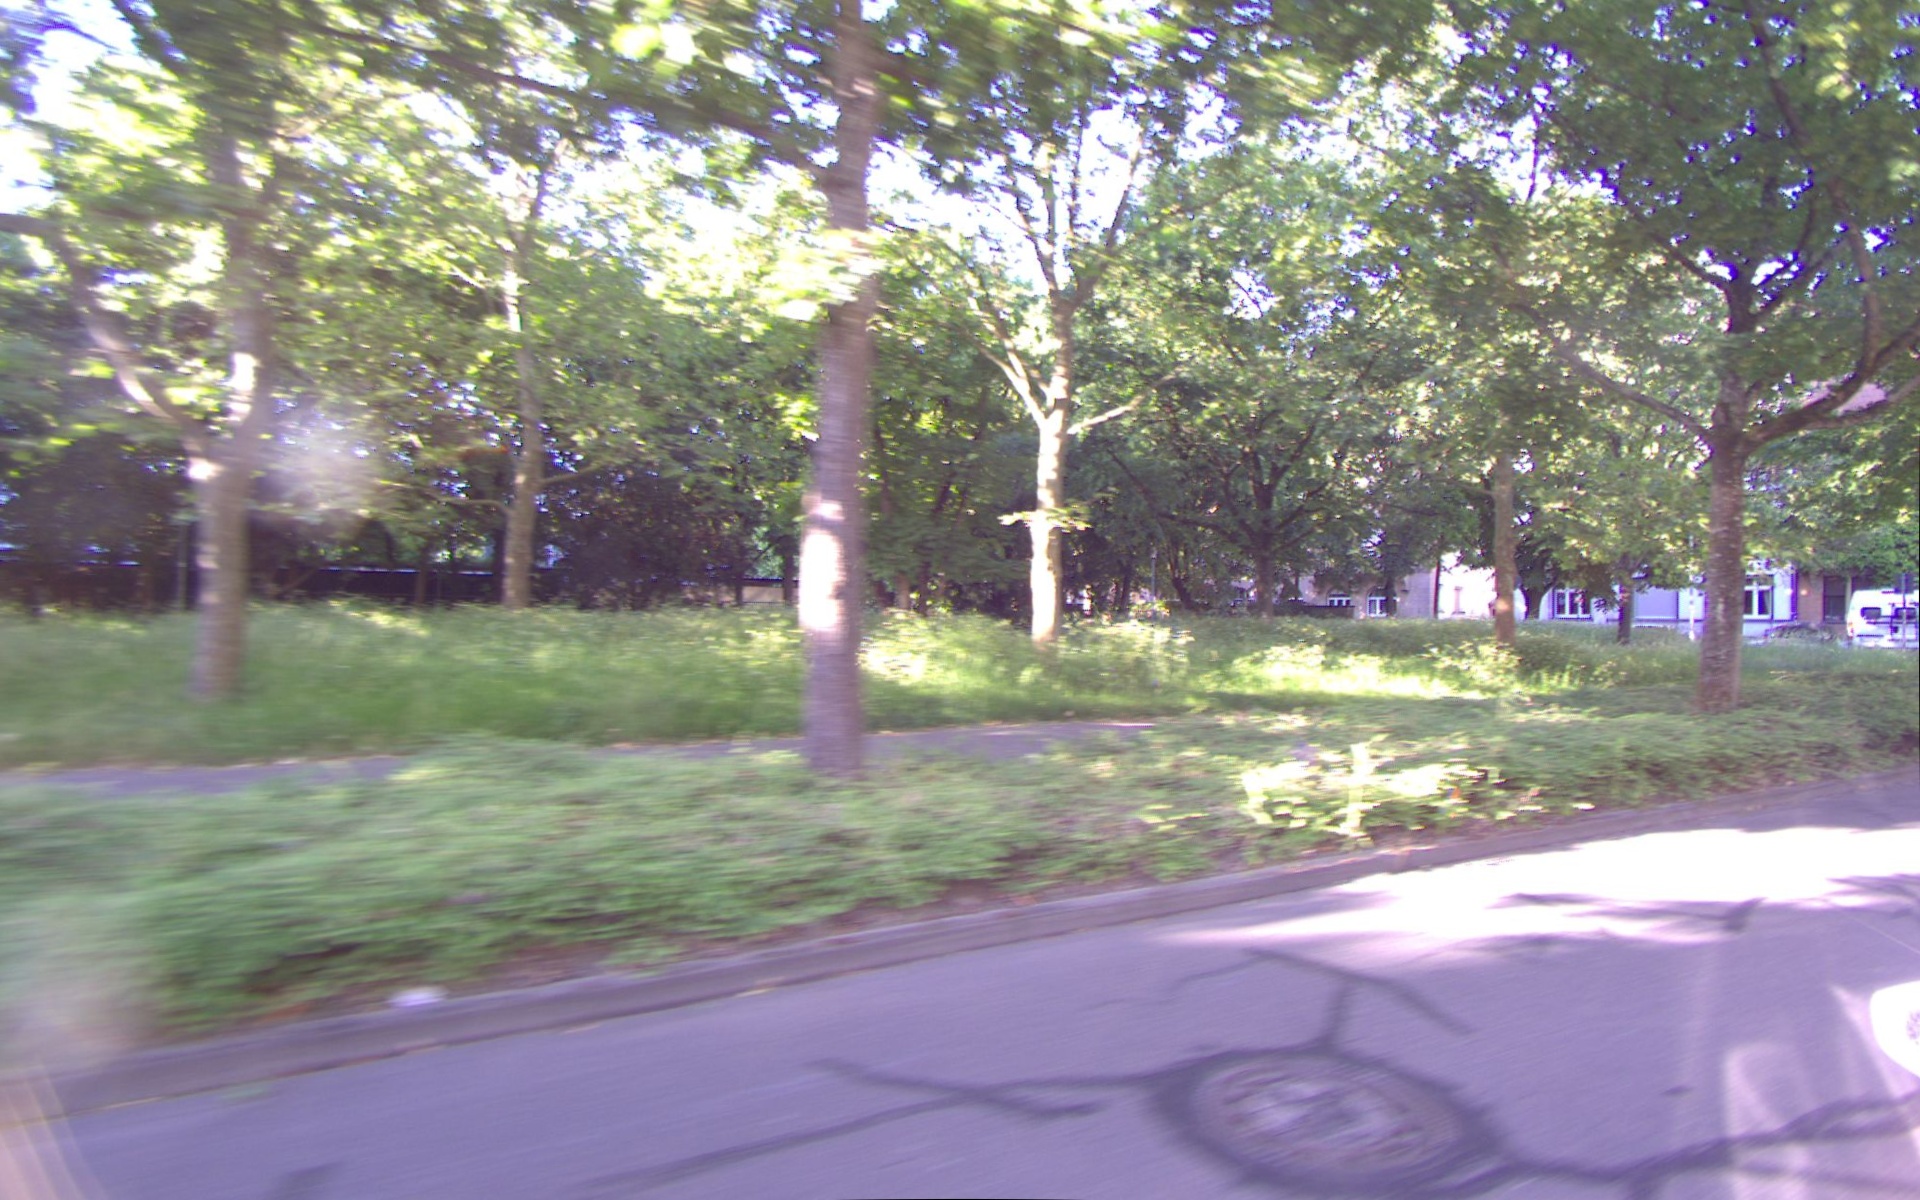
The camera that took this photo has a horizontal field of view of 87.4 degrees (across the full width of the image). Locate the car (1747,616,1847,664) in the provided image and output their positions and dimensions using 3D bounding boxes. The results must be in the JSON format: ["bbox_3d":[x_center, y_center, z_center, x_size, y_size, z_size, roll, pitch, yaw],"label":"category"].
[{"bbox_3d":[30.102,1.427,36.099,4.263,1.596,1.956,2,0,-39],"label":"car"}]

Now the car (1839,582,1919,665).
[{"bbox_3d":[32.123,0.804,34.294,5.583,2.649,2.214,2,0,-39],"label":"car"}]
